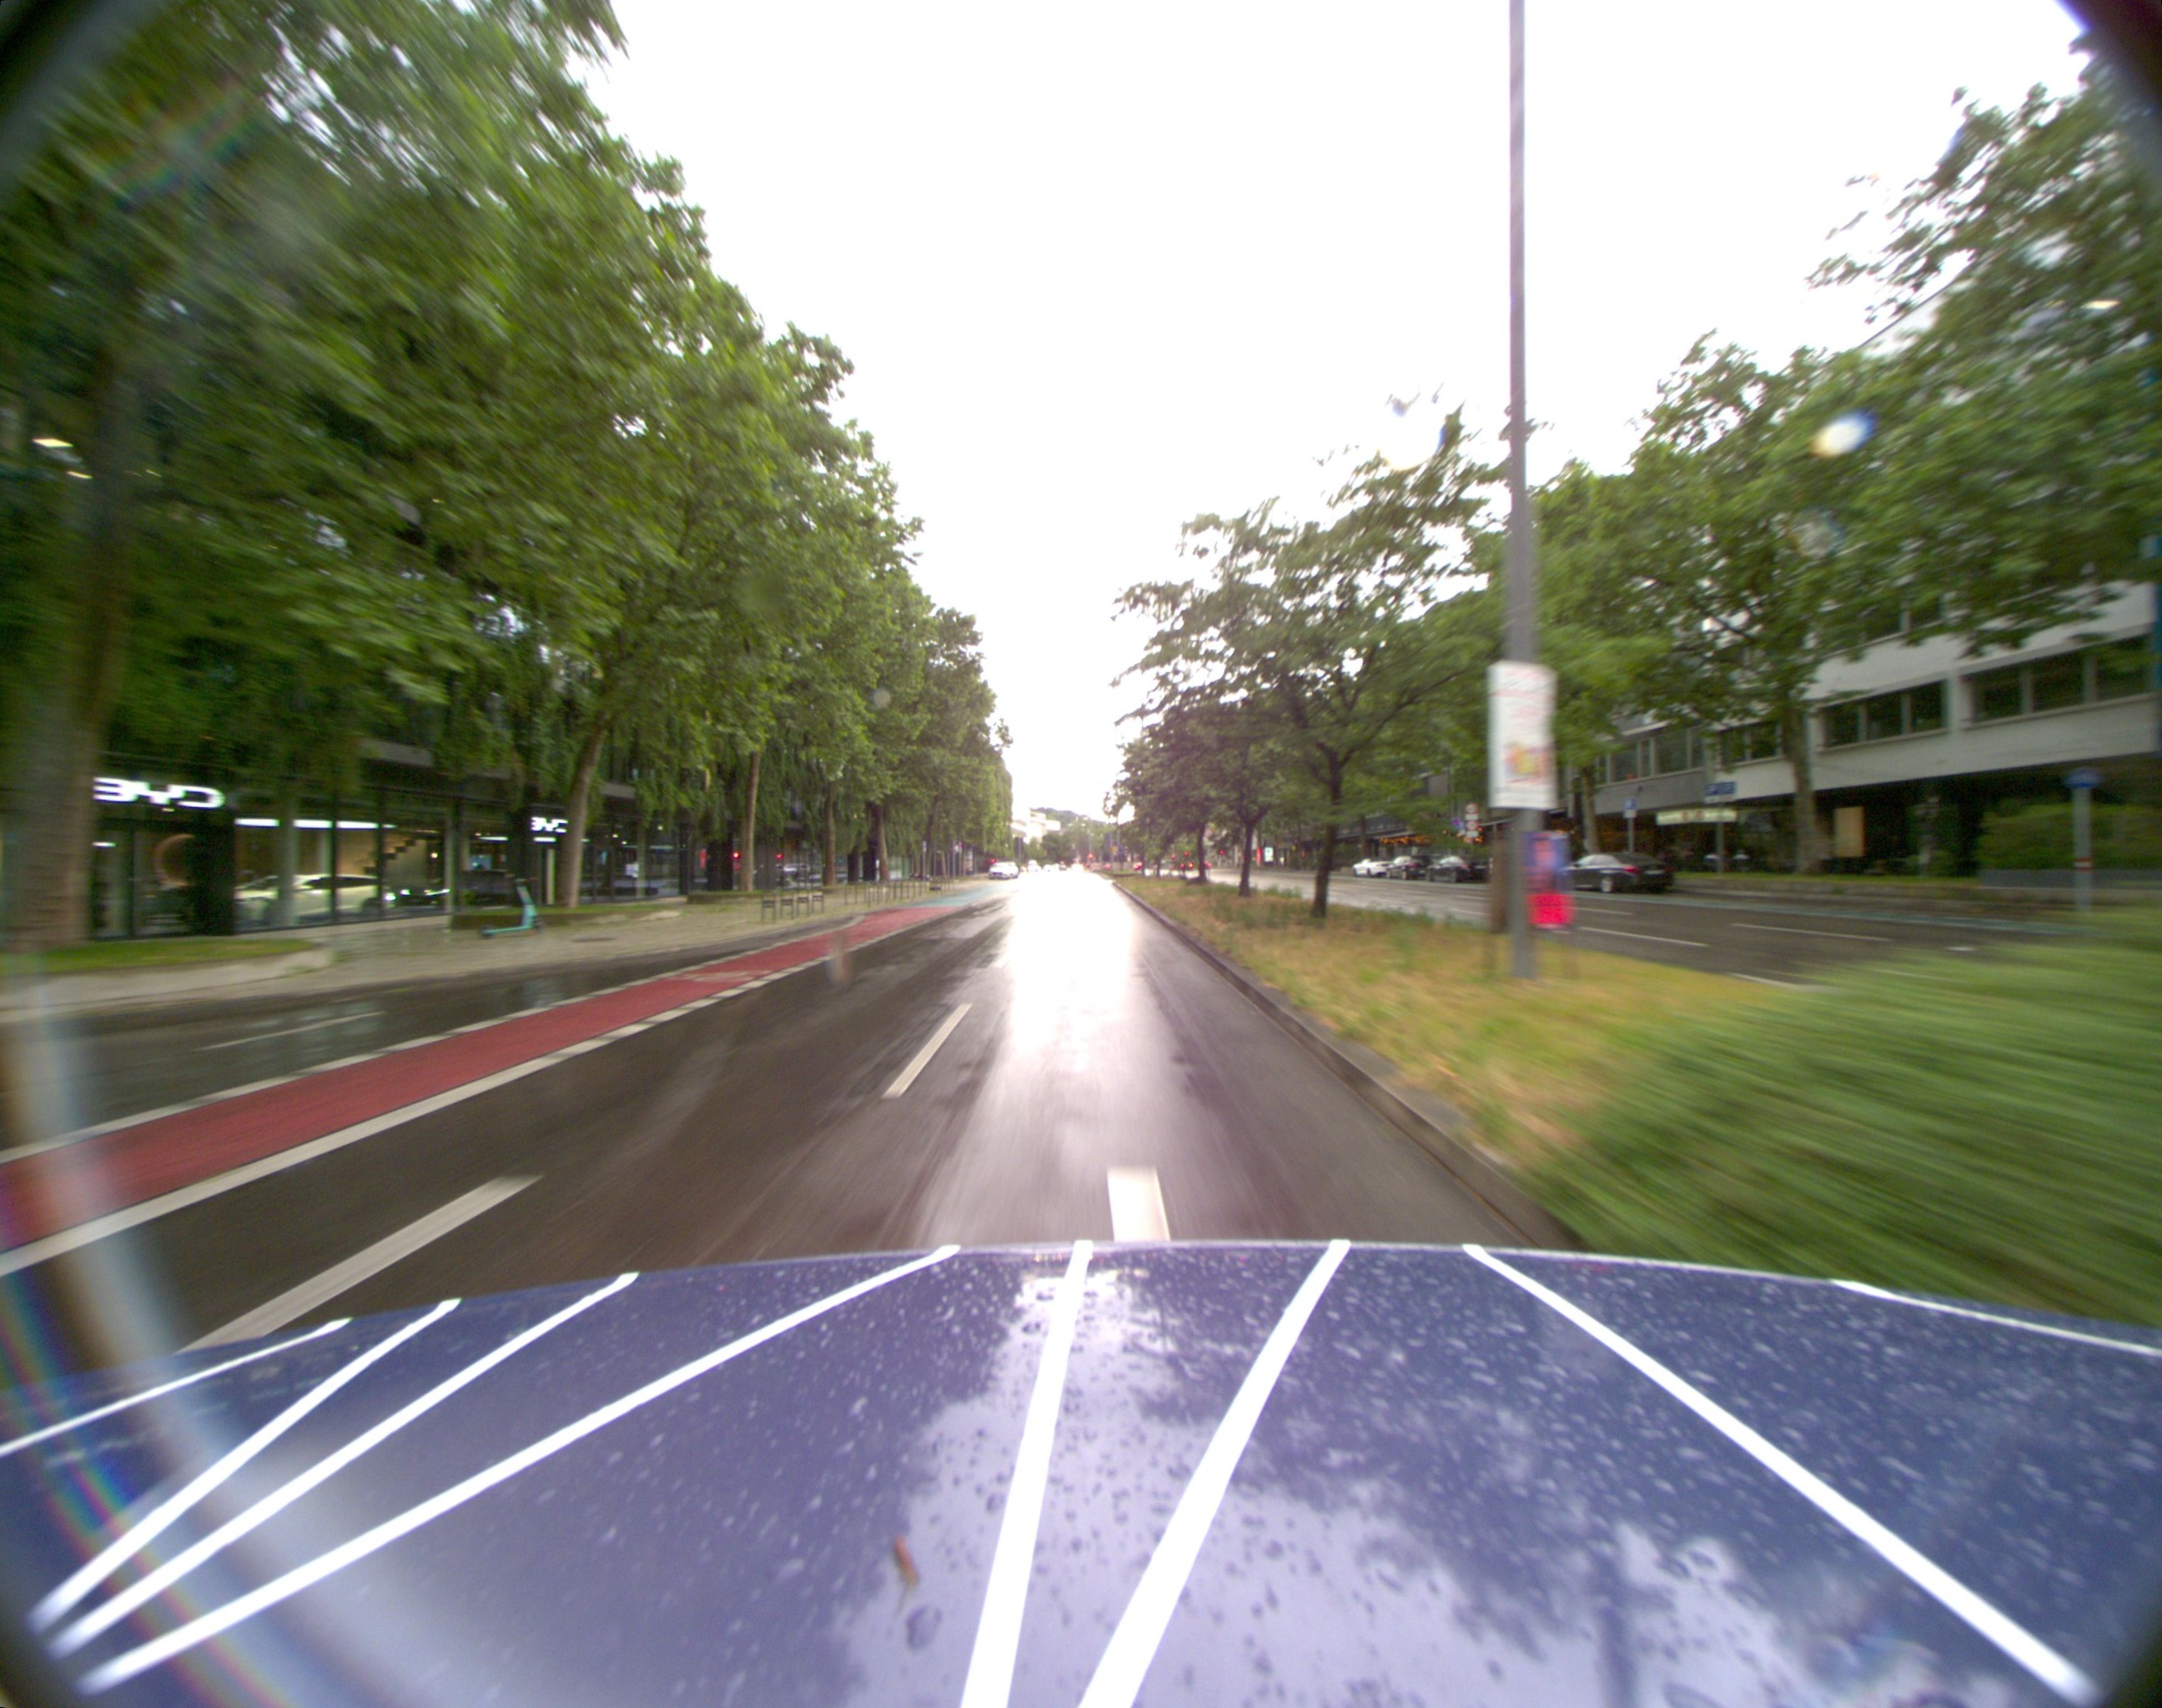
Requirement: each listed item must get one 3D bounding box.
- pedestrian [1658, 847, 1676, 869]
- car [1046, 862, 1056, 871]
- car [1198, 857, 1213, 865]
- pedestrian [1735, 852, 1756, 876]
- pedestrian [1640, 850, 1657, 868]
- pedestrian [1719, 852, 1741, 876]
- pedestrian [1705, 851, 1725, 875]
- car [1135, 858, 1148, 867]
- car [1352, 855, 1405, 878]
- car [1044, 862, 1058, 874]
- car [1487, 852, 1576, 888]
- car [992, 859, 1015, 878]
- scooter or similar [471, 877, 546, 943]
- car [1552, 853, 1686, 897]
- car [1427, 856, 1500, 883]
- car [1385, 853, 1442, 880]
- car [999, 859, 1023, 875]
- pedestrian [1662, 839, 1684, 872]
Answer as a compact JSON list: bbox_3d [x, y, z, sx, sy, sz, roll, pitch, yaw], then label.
[{"bbox_3d":[27.268,0.199,35.349,0.464,1.010,0.424,-2,1,-3],"label":"pedestrian"},{"bbox_3d":[-5.335,2.180,133.705,1.557,1.534,3.663,-2,1,0],"label":"car"},{"bbox_3d":[20.383,1.136,124.529,1.765,1.318,3.738,-2,1,0],"label":"car"},{"bbox_3d":[27.460,0.399,31.391,0.458,0.958,0.453,-3,1,-16],"label":"pedestrian"},{"bbox_3d":[27.425,0.259,36.719,0.440,0.844,0.433,-2,1,-3],"label":"pedestrian"},{"bbox_3d":[27.248,0.404,31.906,0.486,0.995,0.490,-3,1,-16],"label":"pedestrian"},{"bbox_3d":[27.187,0.392,32.558,0.459,0.987,0.463,-3,1,-15],"label":"pedestrian"},{"bbox_3d":[9.955,1.425,126.094,1.678,1.381,3.527,-2,1,-3],"label":"car"},{"bbox_3d":[19.900,0.793,51.003,1.881,1.318,4.392,-2,1,1],"label":"car"},{"bbox_3d":[-4.272,2.041,108.801,1.780,1.546,3.929,-2,1,0],"label":"car"},{"bbox_3d":[19.682,0.676,33.329,1.875,1.414,3.400,-2,1,1],"label":"car"},{"bbox_3d":[-7.883,1.415,77.602,1.932,1.726,4.598,-2,1,-1],"label":"car"},{"bbox_3d":[-12.070,1.153,16.037,1.187,1.275,0.535,-3,1,-40],"label":"scooter or similar"},{"bbox_3d":[19.566,0.695,27.921,1.875,1.377,4.537,-2,1,3],"label":"car"},{"bbox_3d":[19.683,0.757,39.284,1.647,1.232,4.318,-2,1,2],"label":"car"},{"bbox_3d":[19.780,0.705,45.399,1.750,1.445,3.788,-2,1,1],"label":"car"},{"bbox_3d":[-7.705,1.418,83.715,2.036,1.552,4.584,-2,1,1],"label":"car"},{"bbox_3d":[30.526,0.084,39.196,0.606,1.638,0.623,-2,1,-4],"label":"pedestrian"}]
